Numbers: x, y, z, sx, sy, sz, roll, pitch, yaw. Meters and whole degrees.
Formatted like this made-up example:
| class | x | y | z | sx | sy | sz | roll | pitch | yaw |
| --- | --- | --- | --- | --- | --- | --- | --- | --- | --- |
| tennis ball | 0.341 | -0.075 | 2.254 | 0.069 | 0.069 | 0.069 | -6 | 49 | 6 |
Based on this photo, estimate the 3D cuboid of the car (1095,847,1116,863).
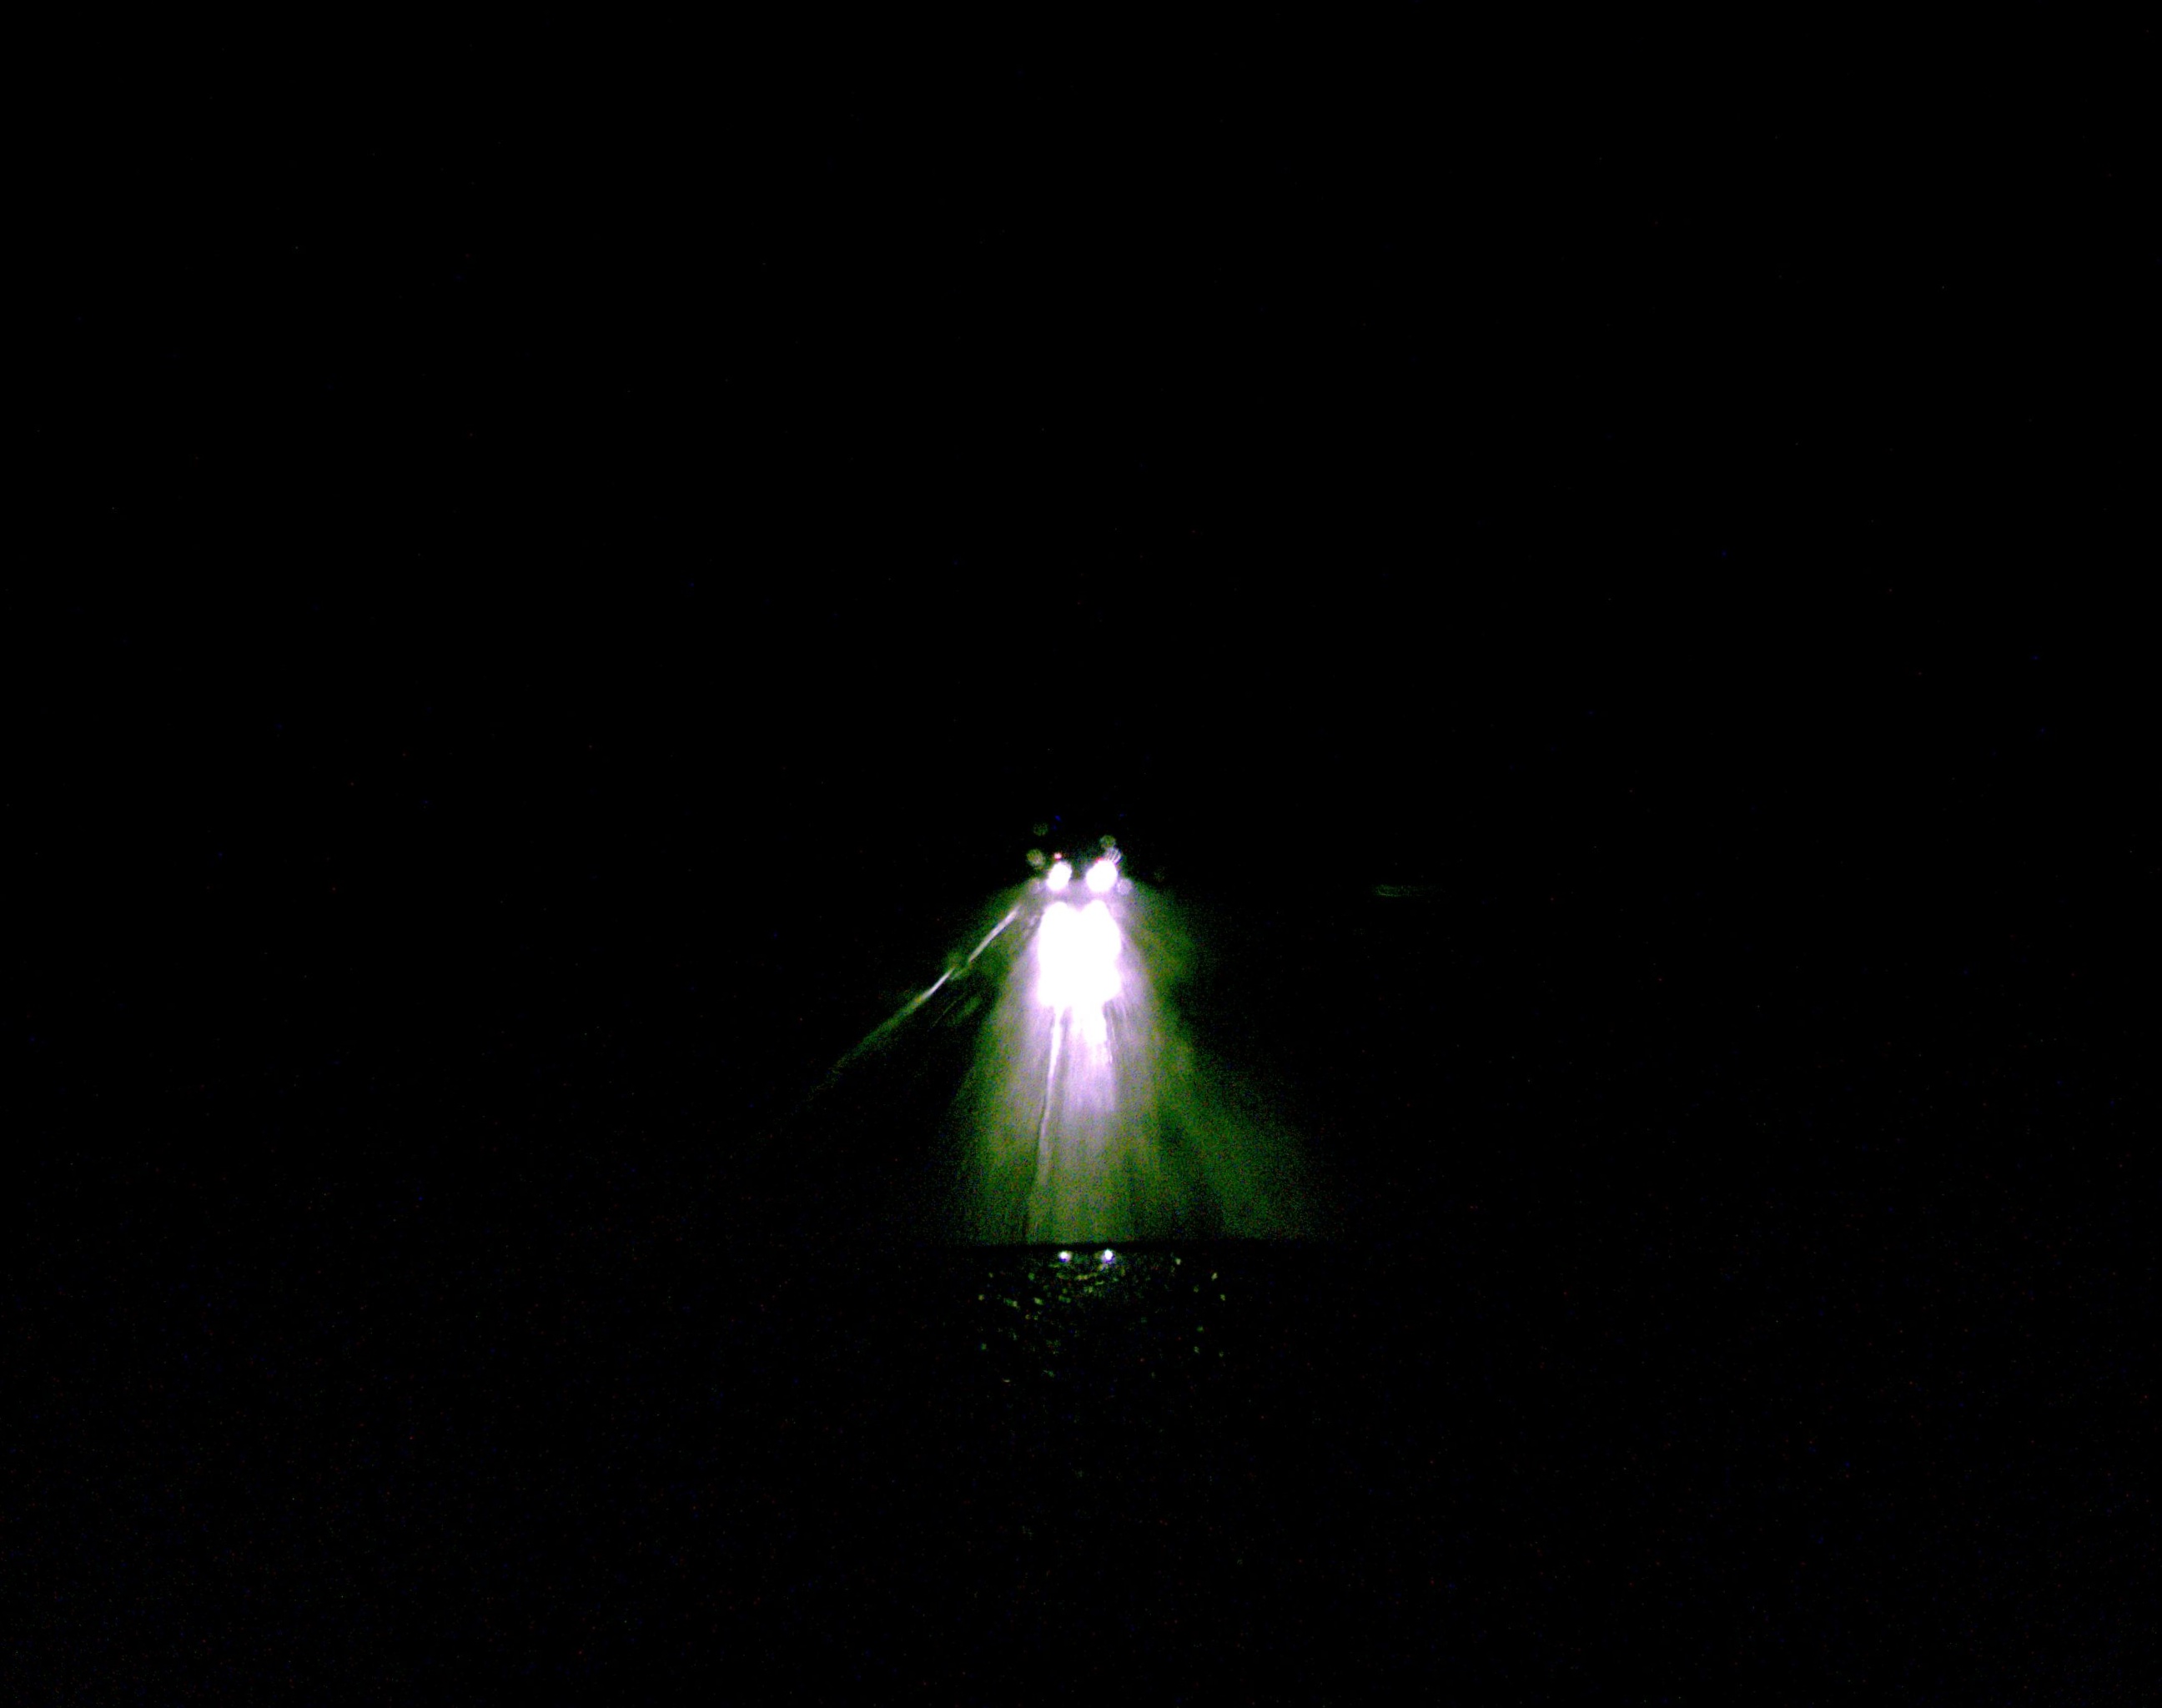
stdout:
| class | x | y | z | sx | sy | sz | roll | pitch | yaw |
| --- | --- | --- | --- | --- | --- | --- | --- | --- | --- |
| car | 2.534 | 0.048 | 78.921 | 1.894 | 1.628 | 4.155 | 0 | 1 | -1 |

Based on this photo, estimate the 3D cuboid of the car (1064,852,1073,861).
| class | x | y | z | sx | sy | sz | roll | pitch | yaw |
| --- | --- | --- | --- | --- | --- | --- | --- | --- | --- |
| car | -2.610 | 0.517 | 158.214 | 1.835 | 1.637 | 3.998 | 0 | 1 | -3 |

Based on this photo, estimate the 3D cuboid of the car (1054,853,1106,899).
| class | x | y | z | sx | sy | sz | roll | pitch | yaw |
| --- | --- | --- | --- | --- | --- | --- | --- | --- | --- |
| car | -0.111 | 0.825 | 30.487 | 1.863 | 1.601 | 4.418 | -3 | 0 | -2 |
